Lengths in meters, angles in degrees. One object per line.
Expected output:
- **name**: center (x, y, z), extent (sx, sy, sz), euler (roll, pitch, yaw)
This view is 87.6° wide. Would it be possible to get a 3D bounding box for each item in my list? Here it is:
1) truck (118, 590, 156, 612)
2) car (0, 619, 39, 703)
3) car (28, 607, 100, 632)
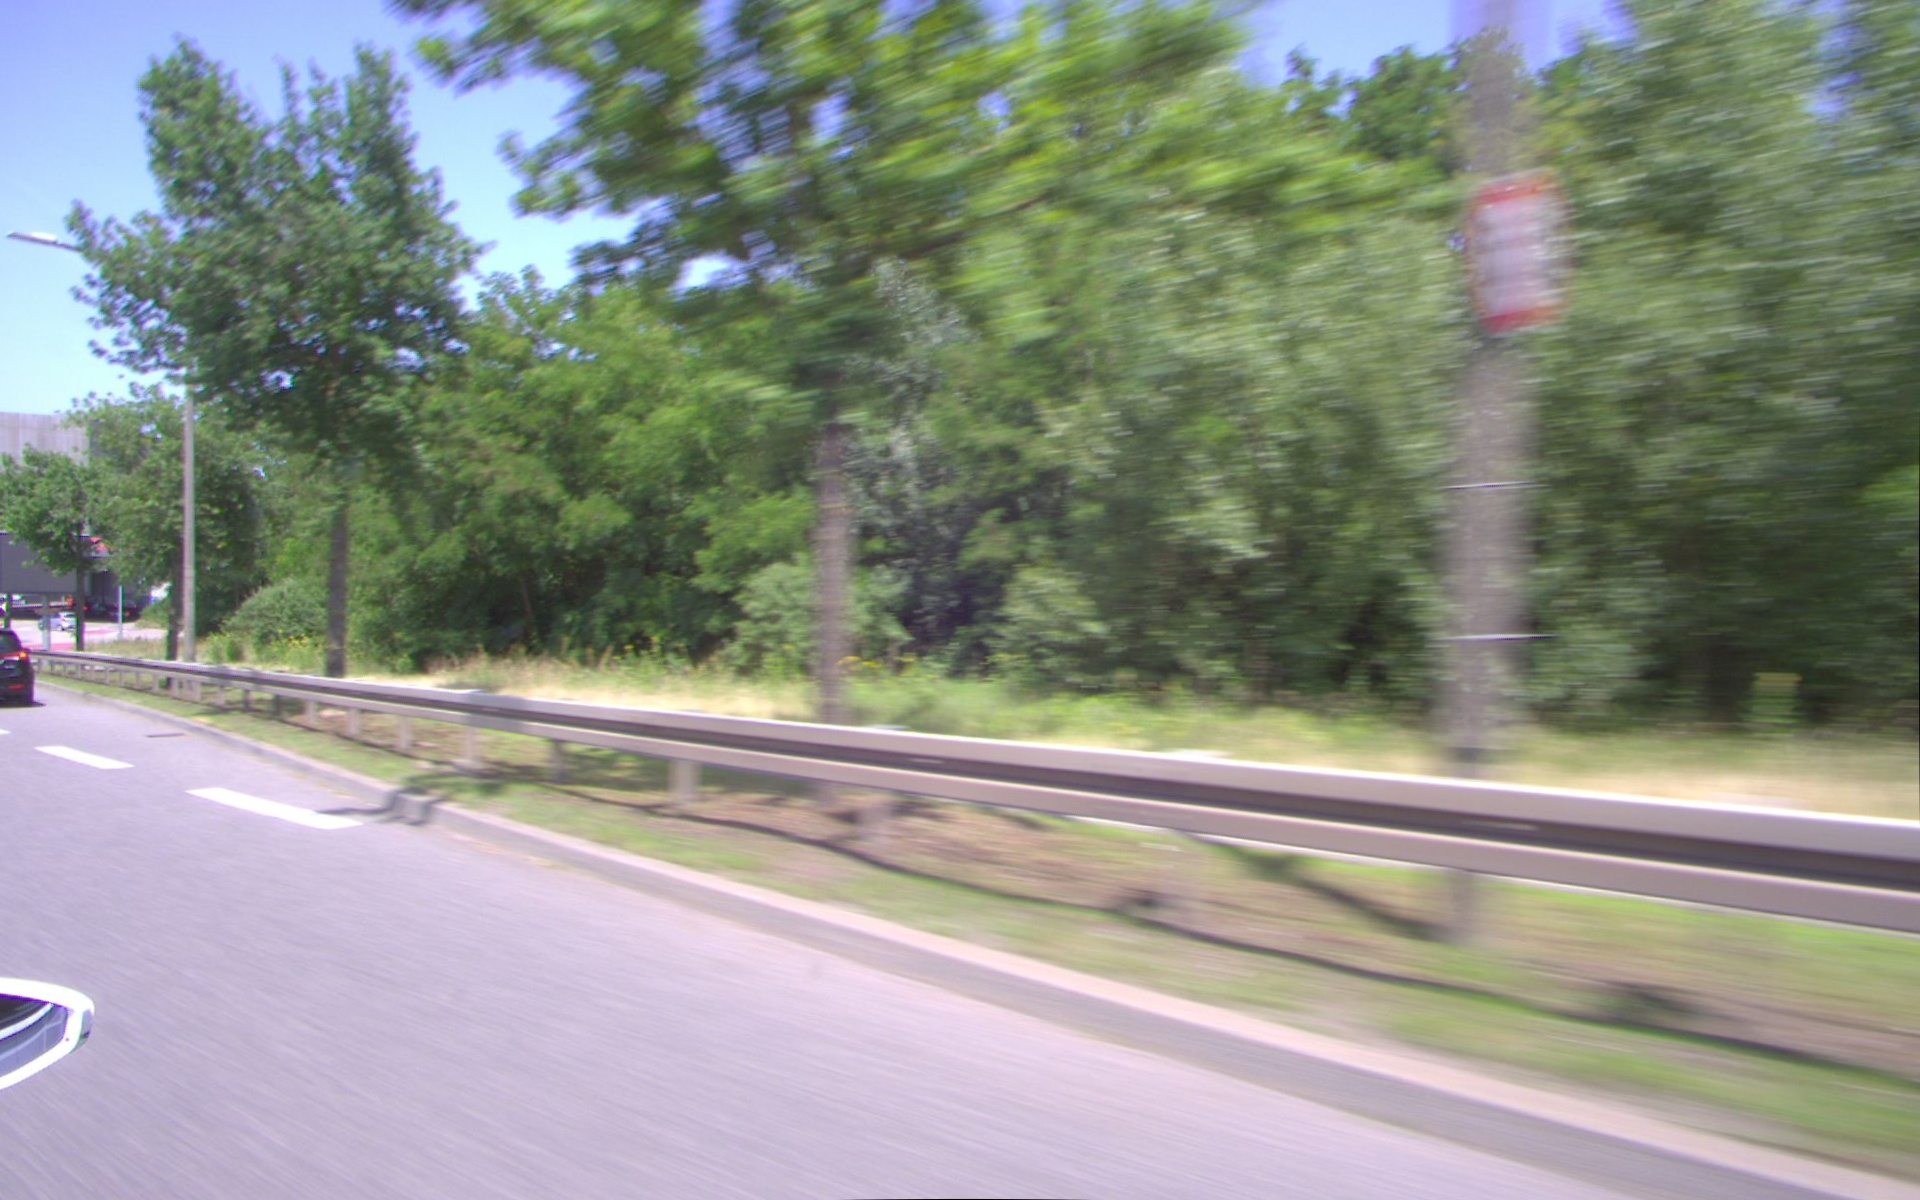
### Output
- **truck**: center (-96.114, 0.145, 116.951), extent (2.038, 2.571, 3.992), euler (0, 0, -17)
- **car**: center (-20.147, 1.214, 20.372), extent (4.033, 1.619, 1.758), euler (-2, -3, 43)
- **car**: center (-73.575, 1.617, 82.278), extent (3.926, 2.040, 1.998), euler (1, -1, -12)
